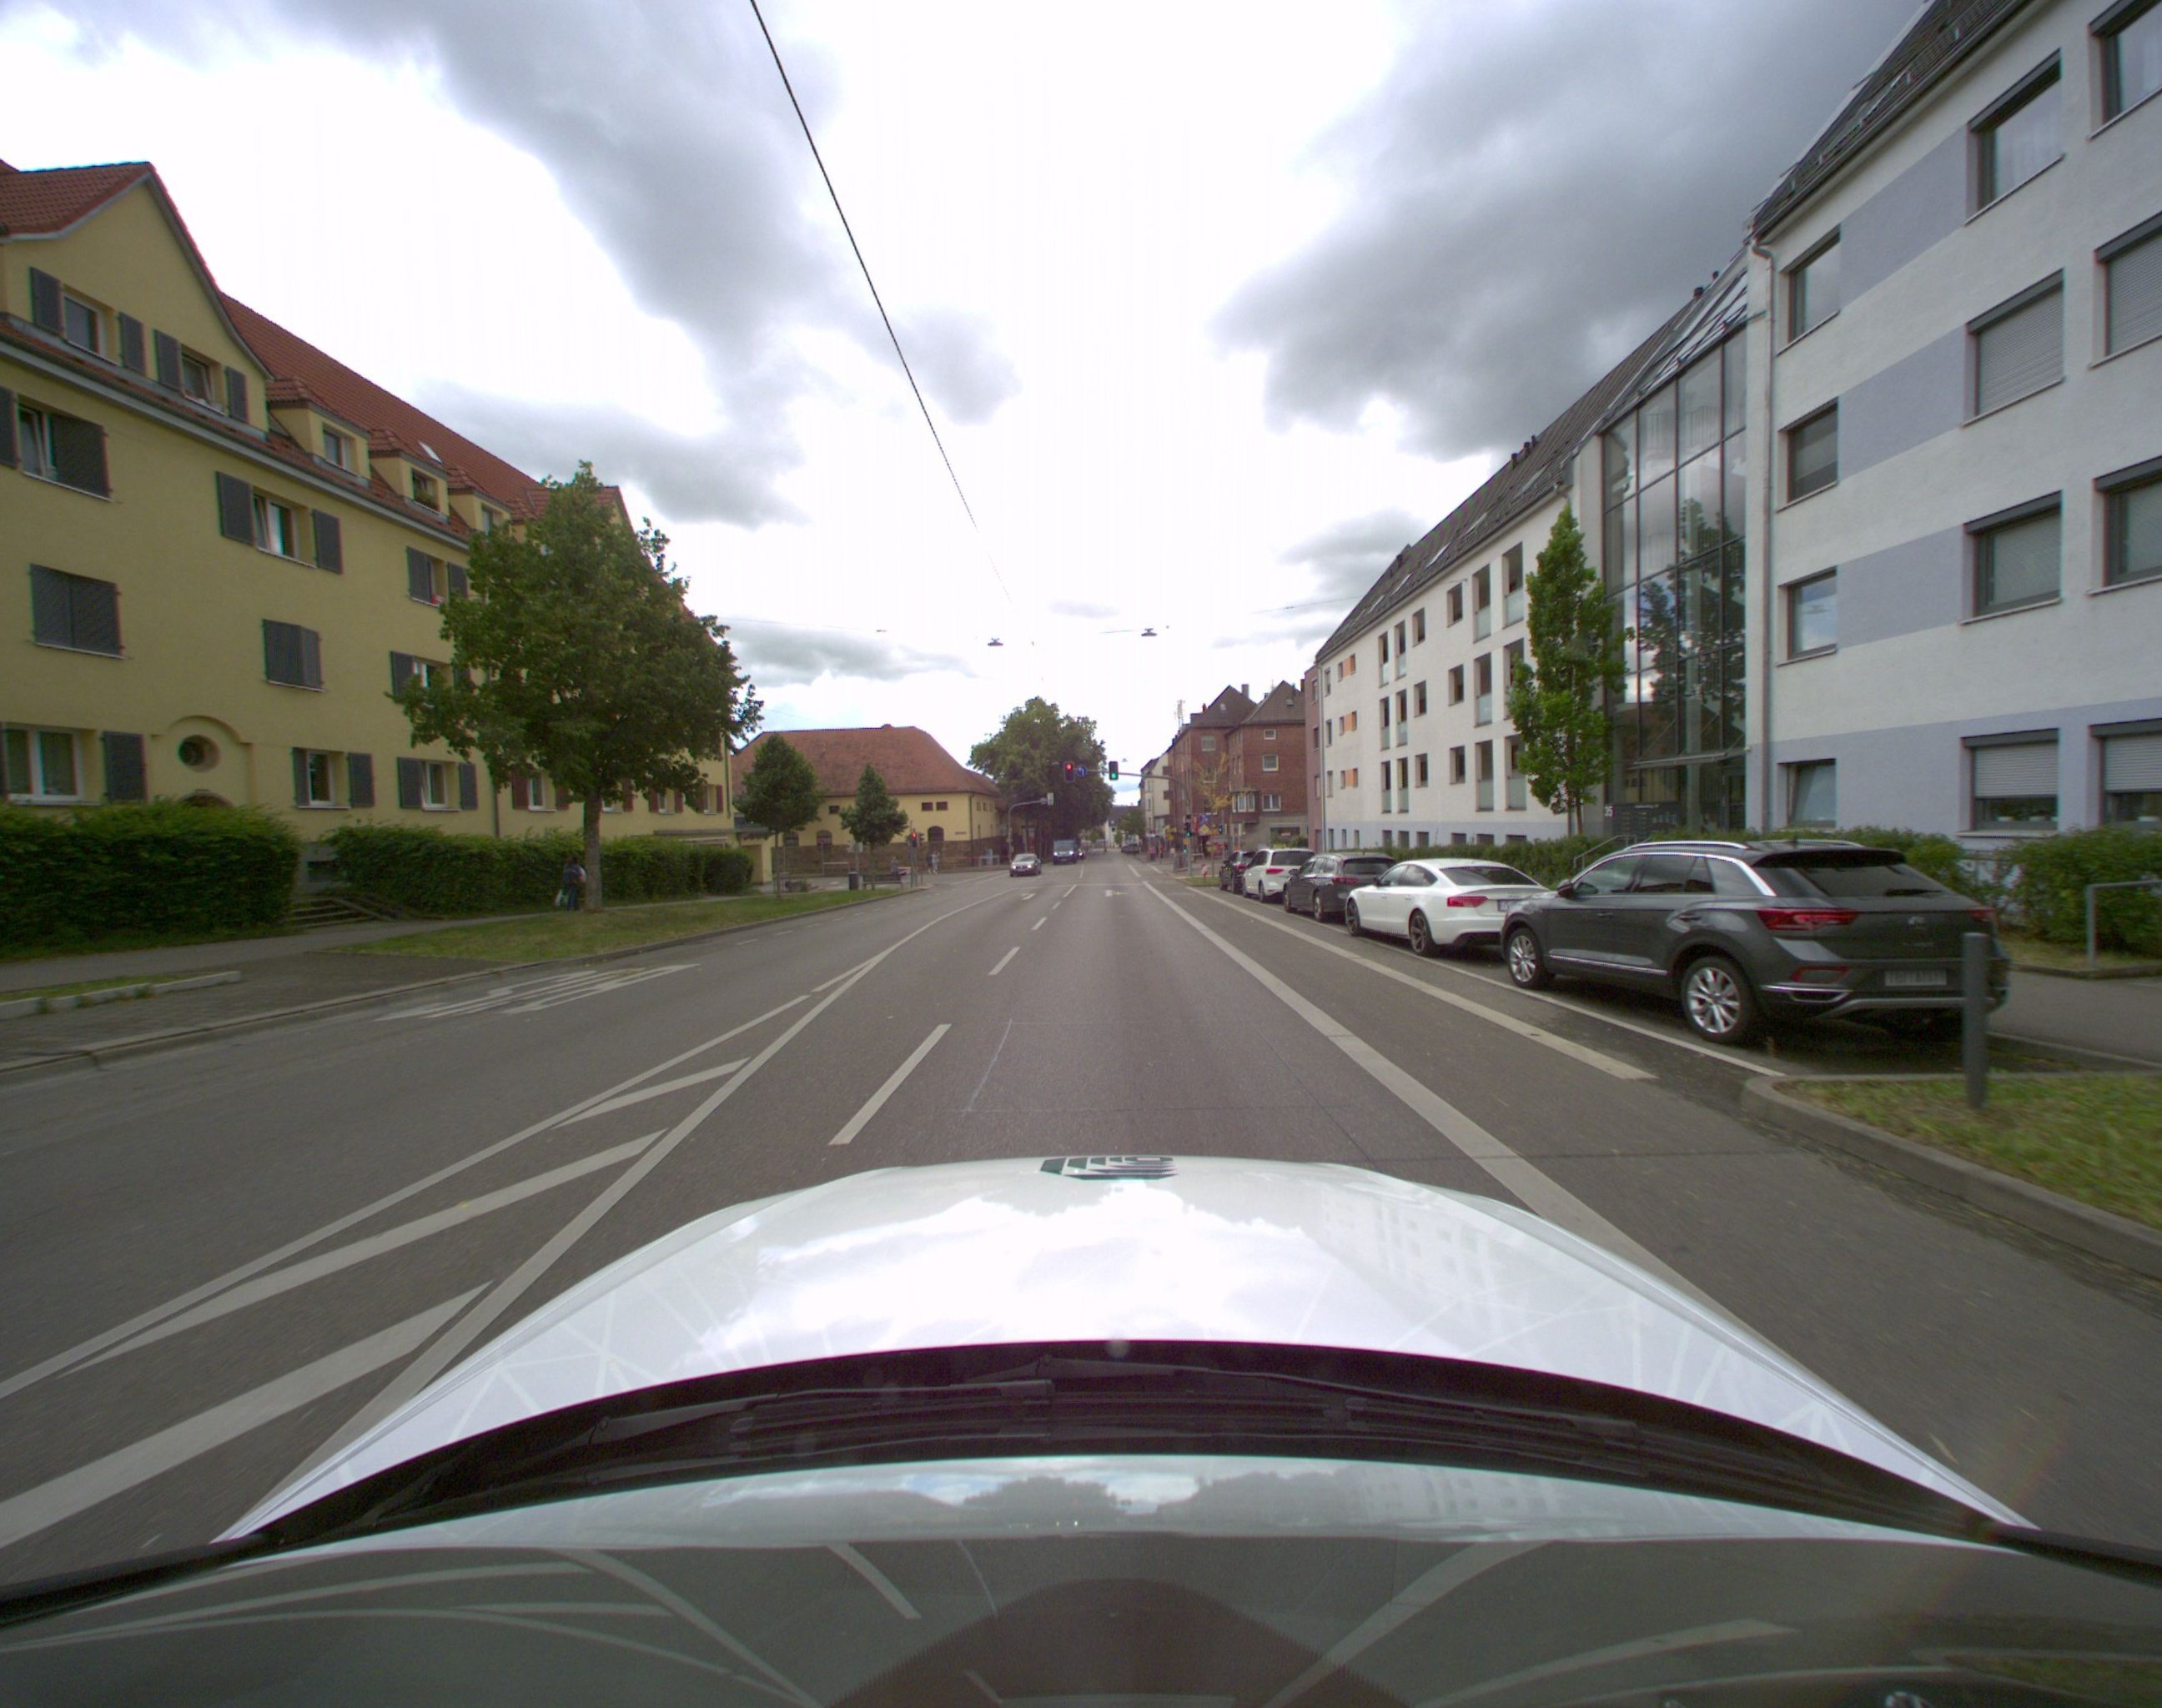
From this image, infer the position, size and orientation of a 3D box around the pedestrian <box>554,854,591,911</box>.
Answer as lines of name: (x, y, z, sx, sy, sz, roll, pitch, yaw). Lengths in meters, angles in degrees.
pedestrian: (-14.799, 0.812, 23.697, 0.638, 1.619, 0.618, -1, 0, 0)

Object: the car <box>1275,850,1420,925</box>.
car: (5.872, 0.655, 18.620, 1.740, 1.467, 4.949, 0, 0, 0)

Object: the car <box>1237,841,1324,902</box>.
car: (6.099, 0.469, 25.390, 1.653, 1.716, 4.552, 0, 0, 0)

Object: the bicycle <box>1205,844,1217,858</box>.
bicycle: (11.669, -0.307, 73.224, 0.757, 1.193, 2.393, -1, 0, 2)

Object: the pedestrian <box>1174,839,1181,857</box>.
pedestrian: (9.891, -0.630, 83.766, 0.644, 1.750, 0.779, -1, 0, 7)

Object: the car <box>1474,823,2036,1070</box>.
car: (5.617, 0.600, 7.675, 1.627, 1.650, 4.353, 0, 0, -2)

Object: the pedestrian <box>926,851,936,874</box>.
pedestrian: (-11.783, 0.668, 63.898, 0.562, 1.777, 0.842, -1, 0, 1)

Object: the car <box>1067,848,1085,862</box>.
car: (-0.545, 0.089, 95.030, 1.695, 1.414, 4.196, -3, 0, 3)

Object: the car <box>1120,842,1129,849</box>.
car: (10.233, -2.044, 192.306, 1.664, 1.547, 3.755, -1, 1, -1)

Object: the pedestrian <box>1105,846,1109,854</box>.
pedestrian: (5.023, -0.683, 158.486, 0.673, 1.536, 0.608, -1, 0, -12)

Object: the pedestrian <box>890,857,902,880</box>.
pedestrian: (-12.999, 1.001, 57.206, 0.561, 1.566, 0.844, -1, 0, 7)

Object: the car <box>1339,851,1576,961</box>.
car: (5.653, 0.670, 12.927, 1.724, 1.413, 4.500, 0, 0, 0)

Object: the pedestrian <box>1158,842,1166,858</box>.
pedestrian: (8.619, -0.452, 86.676, 0.560, 1.636, 0.684, -1, 0, 22)

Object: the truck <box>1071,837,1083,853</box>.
truck: (-0.876, -1.882, 175.497, 2.223, 3.346, 7.451, -1, 1, 1)

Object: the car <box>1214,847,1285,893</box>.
car: (6.226, 0.579, 30.539, 1.729, 1.588, 4.572, 0, 0, 0)

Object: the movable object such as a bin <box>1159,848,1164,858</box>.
movable object such as a bin: (8.535, -0.110, 86.478, 0.449, 1.056, 0.412, -1, 0, 21)

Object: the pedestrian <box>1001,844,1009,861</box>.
pedestrian: (-7.961, -0.117, 85.860, 0.671, 1.765, 0.726, -2, 0, 4)

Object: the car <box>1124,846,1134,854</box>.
car: (9.644, -0.743, 162.848, 1.664, 1.547, 3.755, -1, 1, -1)

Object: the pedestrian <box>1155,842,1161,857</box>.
pedestrian: (8.918, -0.501, 94.178, 0.666, 1.727, 0.765, -1, 0, 7)

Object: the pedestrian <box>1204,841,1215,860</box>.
pedestrian: (11.587, -0.327, 73.352, 0.785, 1.656, 0.773, -4, 0, 2)

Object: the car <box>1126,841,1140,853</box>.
car: (8.862, -1.245, 139.007, 1.988, 1.935, 4.917, -1, 1, -1)

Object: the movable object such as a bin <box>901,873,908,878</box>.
movable object such as a bin: (-12.755, 1.560, 58.751, 0.305, 0.347, 0.582, -1, 0, 7)

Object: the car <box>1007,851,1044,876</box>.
car: (-3.708, 0.608, 54.861, 1.748, 1.472, 4.313, -3, 0, 5)

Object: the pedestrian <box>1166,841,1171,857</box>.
pedestrian: (9.727, -0.506, 90.641, 0.477, 1.765, 0.458, -2, 0, 1)

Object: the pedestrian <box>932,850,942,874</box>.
pedestrian: (-11.180, 0.625, 63.176, 0.562, 1.777, 0.717, -1, 0, 1)

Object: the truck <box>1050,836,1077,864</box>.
truck: (-1.657, -0.397, 77.247, 2.289, 2.427, 6.408, -3, 0, -1)
